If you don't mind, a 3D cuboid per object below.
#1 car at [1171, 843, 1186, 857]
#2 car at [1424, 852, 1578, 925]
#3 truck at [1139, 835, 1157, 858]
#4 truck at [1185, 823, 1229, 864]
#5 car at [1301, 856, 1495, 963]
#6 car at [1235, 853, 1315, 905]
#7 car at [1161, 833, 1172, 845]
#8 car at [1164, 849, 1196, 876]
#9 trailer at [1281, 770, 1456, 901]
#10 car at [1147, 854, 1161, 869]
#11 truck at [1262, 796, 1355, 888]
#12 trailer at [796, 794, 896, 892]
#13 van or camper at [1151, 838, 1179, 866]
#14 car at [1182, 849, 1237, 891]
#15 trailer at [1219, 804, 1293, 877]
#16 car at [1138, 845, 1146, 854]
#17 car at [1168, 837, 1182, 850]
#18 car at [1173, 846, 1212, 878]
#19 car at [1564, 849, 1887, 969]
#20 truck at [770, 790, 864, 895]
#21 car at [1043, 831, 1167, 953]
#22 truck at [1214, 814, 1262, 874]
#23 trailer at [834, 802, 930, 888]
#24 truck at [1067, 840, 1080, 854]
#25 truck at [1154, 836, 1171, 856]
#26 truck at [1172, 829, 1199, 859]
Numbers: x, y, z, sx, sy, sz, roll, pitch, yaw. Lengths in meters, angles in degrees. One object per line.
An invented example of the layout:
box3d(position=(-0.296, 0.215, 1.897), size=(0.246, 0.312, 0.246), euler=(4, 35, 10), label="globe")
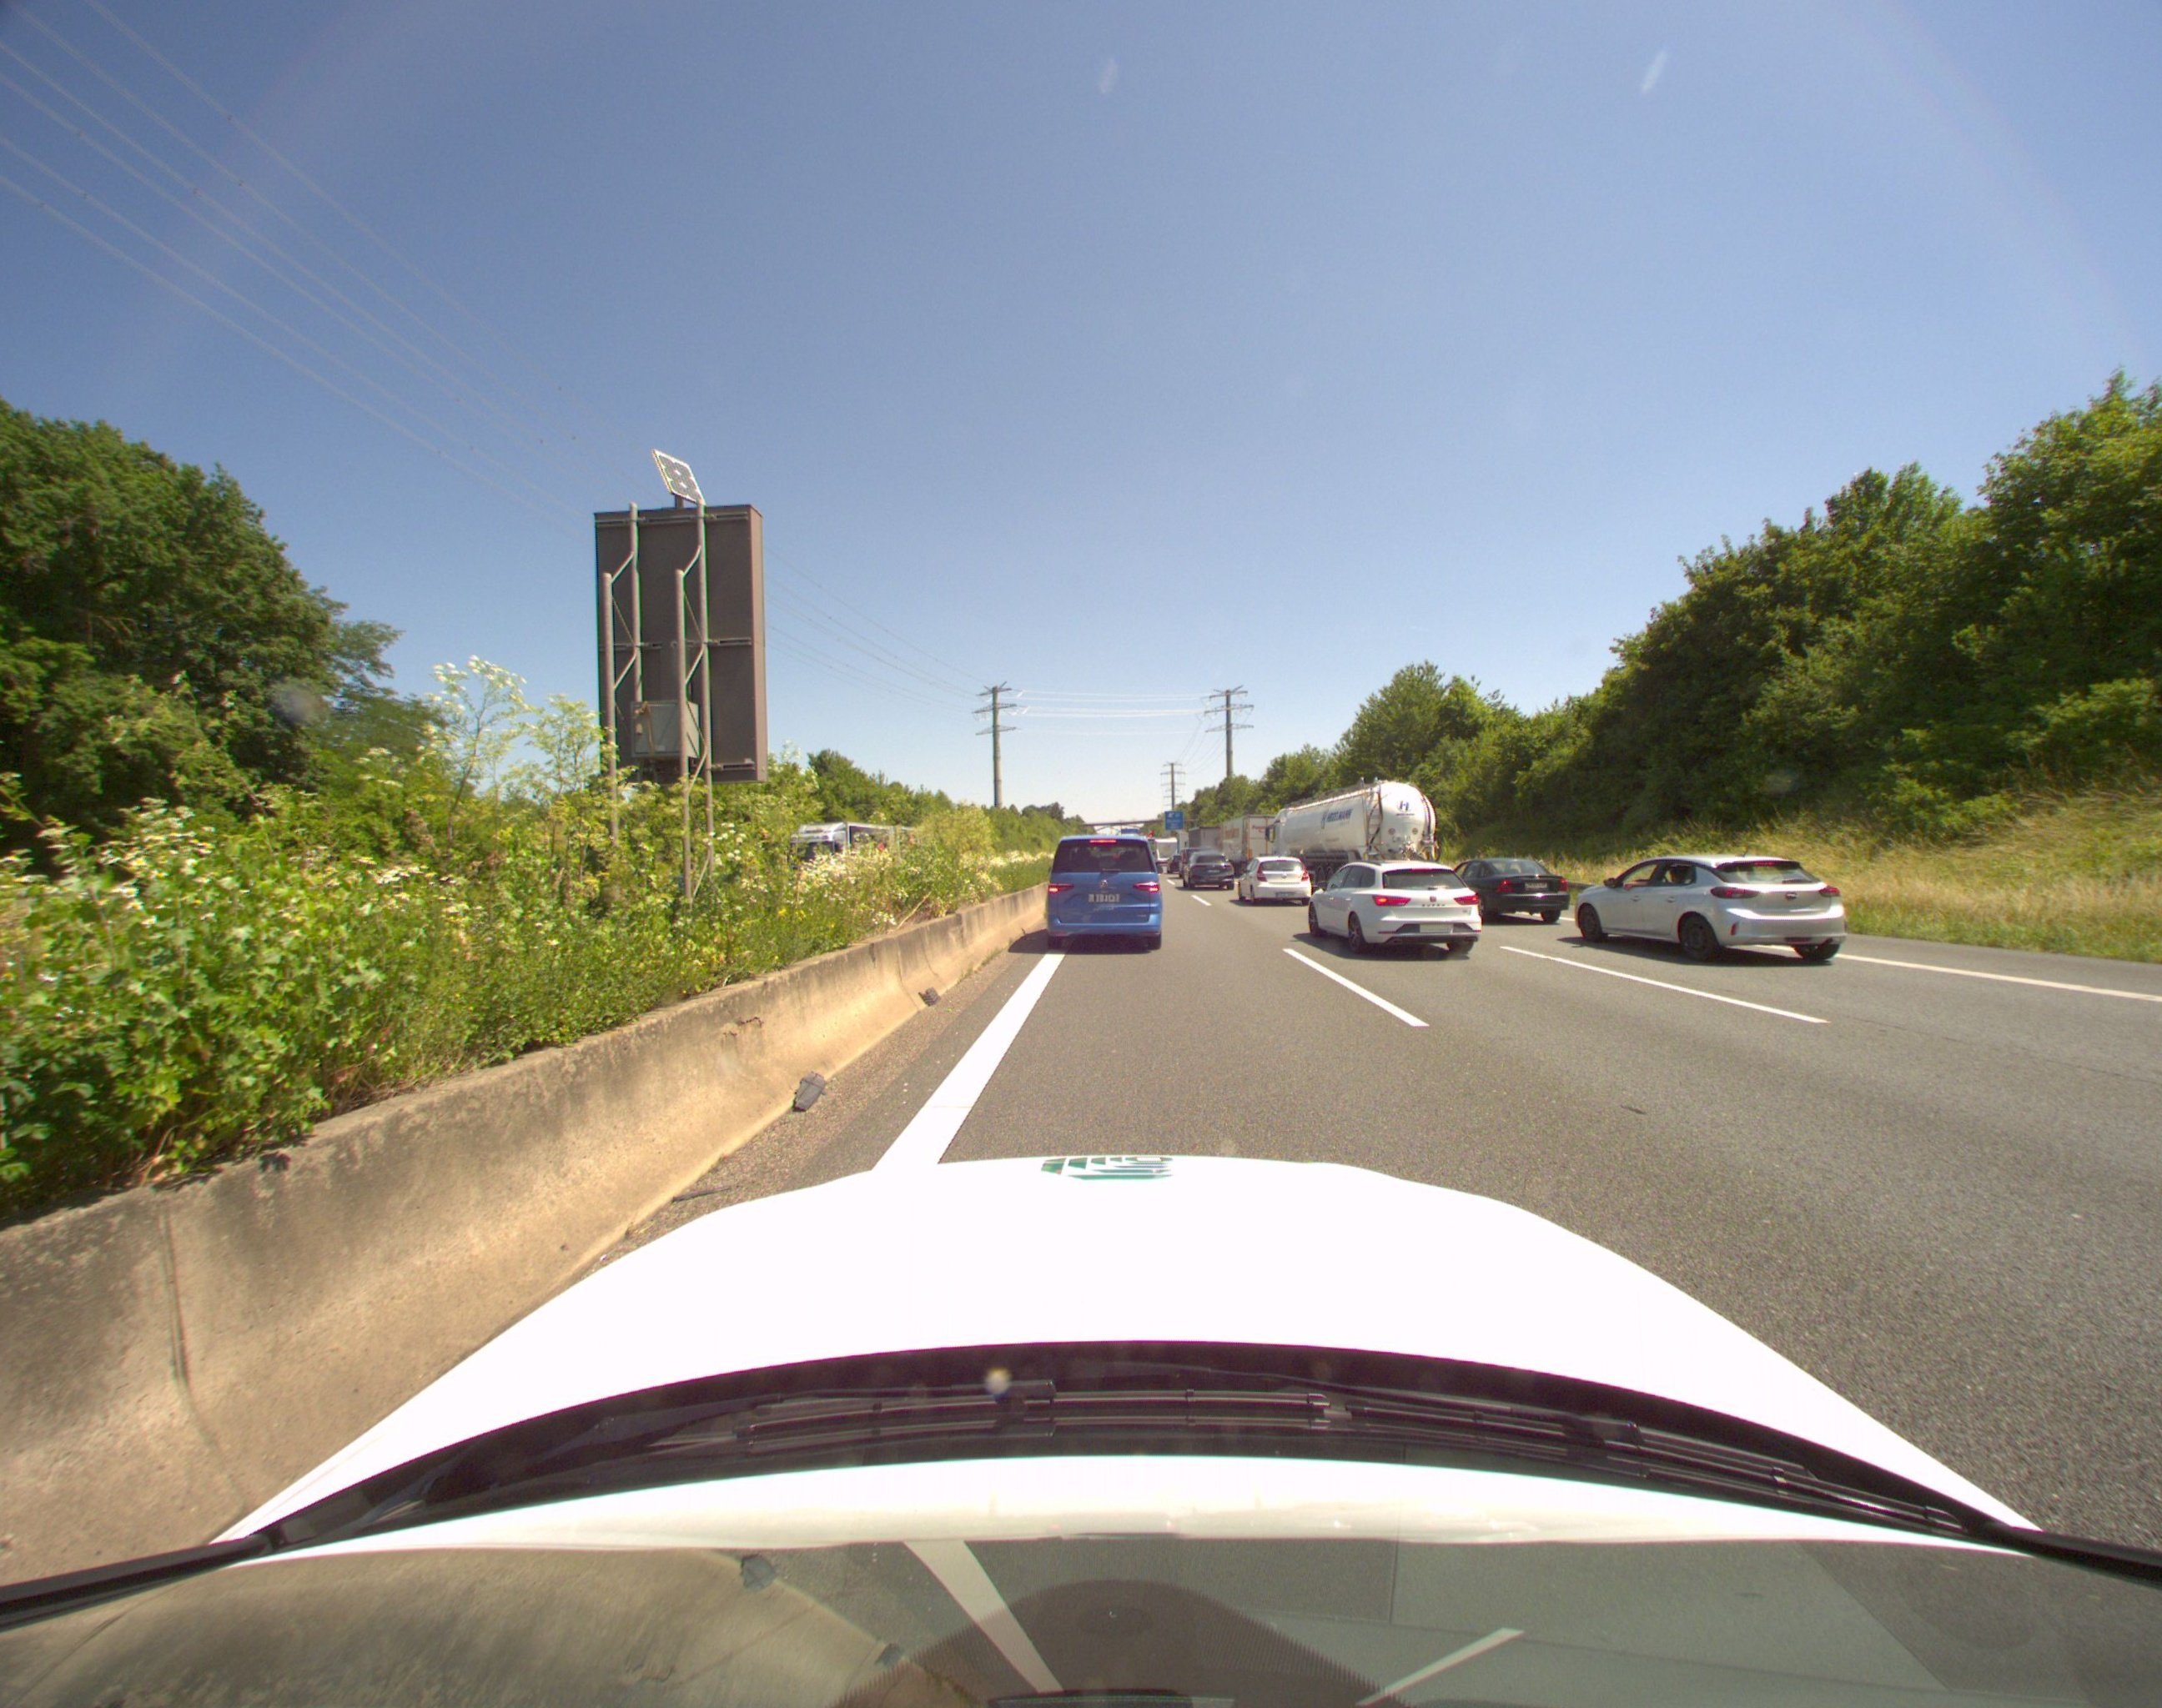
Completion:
box3d(position=(14.730, -0.553, 123.467), size=(1.985, 2.014, 4.003), euler=(-1, -1, 3), label="car")
box3d(position=(9.481, 0.743, 18.762), size=(1.634, 1.416, 3.992), euler=(-3, -1, 3), label="car")
box3d(position=(11.742, -1.197, 142.914), size=(2.883, 3.766, 10.149), euler=(-1, -1, 4), label="truck")
box3d(position=(12.836, -0.912, 84.265), size=(2.993, 3.766, 15.727), euler=(-1, -1, 4), label="truck")
box3d(position=(5.030, 0.819, 13.584), size=(1.740, 1.443, 4.317), euler=(-2, -1, 3), label="car")
box3d(position=(6.088, 0.778, 25.986), size=(1.809, 1.485, 4.004), euler=(-2, -1, 4), label="car")
box3d(position=(16.097, -2.856, 153.496), size=(1.985, 2.014, 4.003), euler=(-1, -1, 3), label="car")
box3d(position=(7.660, 0.652, 63.110), size=(1.917, 1.925, 4.235), euler=(-3, -1, 0), label="car")
box3d(position=(10.018, -0.524, 30.117), size=(2.750, 3.845, 11.492), euler=(-2, 0, 2), label="trailer")
box3d(position=(10.148, 1.052, 113.214), size=(1.828, 1.998, 4.004), euler=(-2, -1, 4), label="car")
box3d(position=(10.303, -0.504, 37.464), size=(2.782, 3.836, 5.575), euler=(-2, -1, 2), label="truck")
box3d(position=(-13.124, -0.548, 46.165), size=(3.309, 5.047, 6.708), euler=(-1, -1, 3), label="trailer")
box3d(position=(9.750, -0.192, 94.750), size=(2.943, 3.022, 7.110), euler=(-1, -1, 4), label="van or camper")
box3d(position=(5.752, 0.715, 37.055), size=(1.991, 1.715, 4.629), euler=(-2, -1, 3), label="car")
box3d(position=(12.035, -0.800, 57.265), size=(2.901, 4.469, 12.161), euler=(-2, 0, 2), label="trailer")
box3d(position=(15.415, -1.216, 206.045), size=(1.986, 2.126, 4.002), euler=(-1, -1, 2), label="car")
box3d(position=(16.144, -1.792, 140.044), size=(1.985, 2.014, 4.003), euler=(-1, -1, 3), label="car")
box3d(position=(7.080, 0.530, 52.122), size=(1.917, 1.925, 4.235), euler=(-3, -1, 0), label="car")
box3d(position=(9.212, 0.676, 12.147), size=(1.724, 1.443, 4.031), euler=(-2, 0, 2), label="car")
box3d(position=(-13.384, -0.563, 41.639), size=(3.289, 5.051, 4.035), euler=(-1, 0, 2), label="truck")
box3d(position=(0.472, 0.596, 14.608), size=(1.912, 1.886, 4.003), euler=(0, 0, 3), label="car")
box3d(position=(12.322, -0.766, 64.284), size=(2.901, 4.469, 5.145), euler=(-2, -1, 2), label="truck")
box3d(position=(-12.740, -0.466, 53.206), size=(3.308, 5.047, 9.598), euler=(-1, -1, 3), label="trailer")
box3d(position=(-2.152, -2.061, 242.245), size=(2.899, 3.819, 11.952), euler=(0, 0, 3), label="truck")
box3d(position=(19.705, -1.895, 197.330), size=(3.552, 4.517, 10.299), euler=(-1, -1, 2), label="truck")
box3d(position=(14.513, -1.291, 113.993), size=(2.883, 3.766, 13.357), euler=(-1, -1, 4), label="truck")
